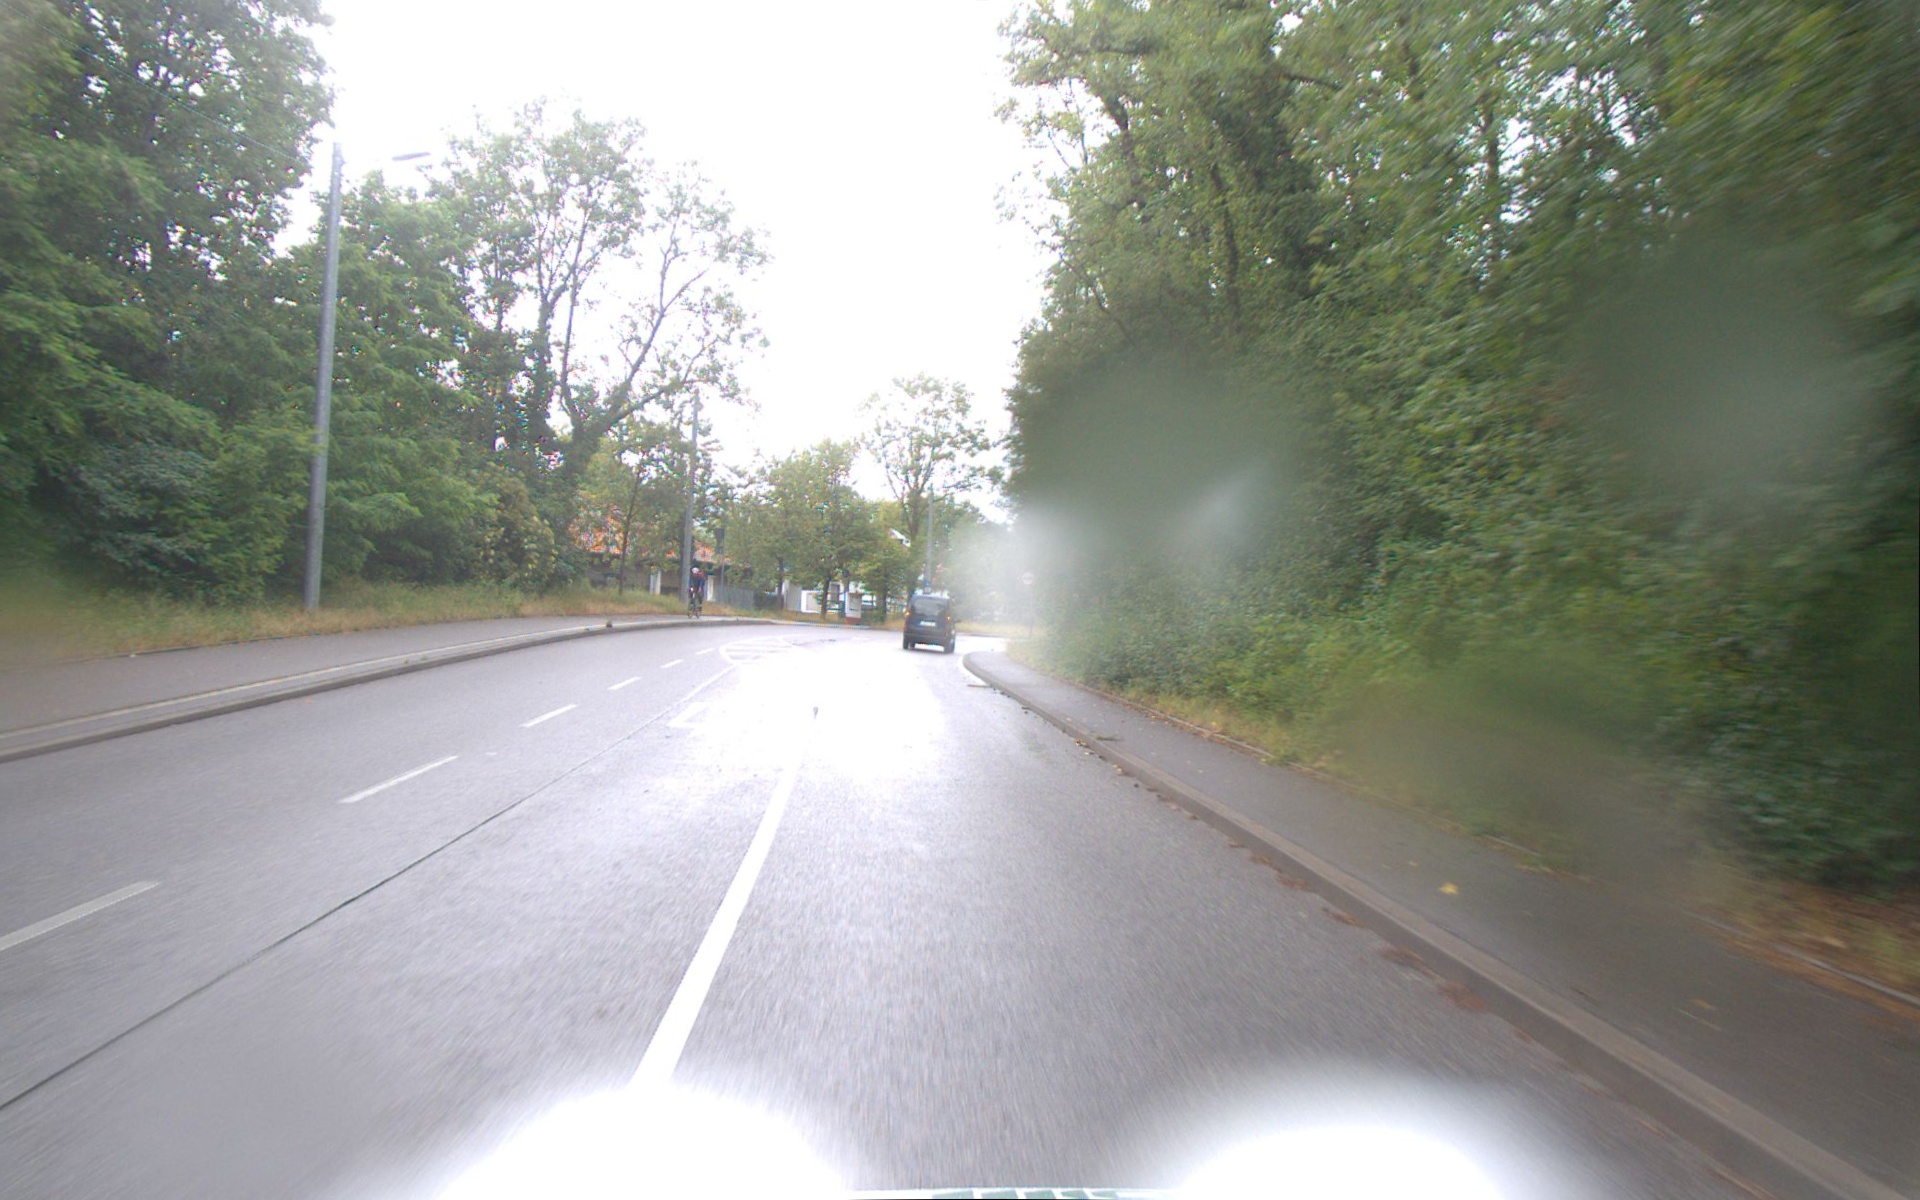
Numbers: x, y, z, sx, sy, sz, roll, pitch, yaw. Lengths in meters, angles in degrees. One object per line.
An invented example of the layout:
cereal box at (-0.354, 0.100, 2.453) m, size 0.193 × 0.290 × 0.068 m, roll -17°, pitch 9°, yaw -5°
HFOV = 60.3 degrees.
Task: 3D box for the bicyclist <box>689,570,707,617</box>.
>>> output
bicyclist at (-9.278, -0.226, 58.608) m, size 0.329 × 1.601 × 1.298 m, roll 3°, pitch -1°, yaw 0°

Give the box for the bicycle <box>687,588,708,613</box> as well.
bicycle at (-9.288, 0.017, 58.615) m, size 0.348 × 0.864 × 2.093 m, roll 3°, pitch 0°, yaw 0°

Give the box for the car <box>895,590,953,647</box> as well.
car at (-1.264, 0.654, 56.565) m, size 1.791 × 1.825 × 3.996 m, roll 0°, pitch -3°, yaw -4°
